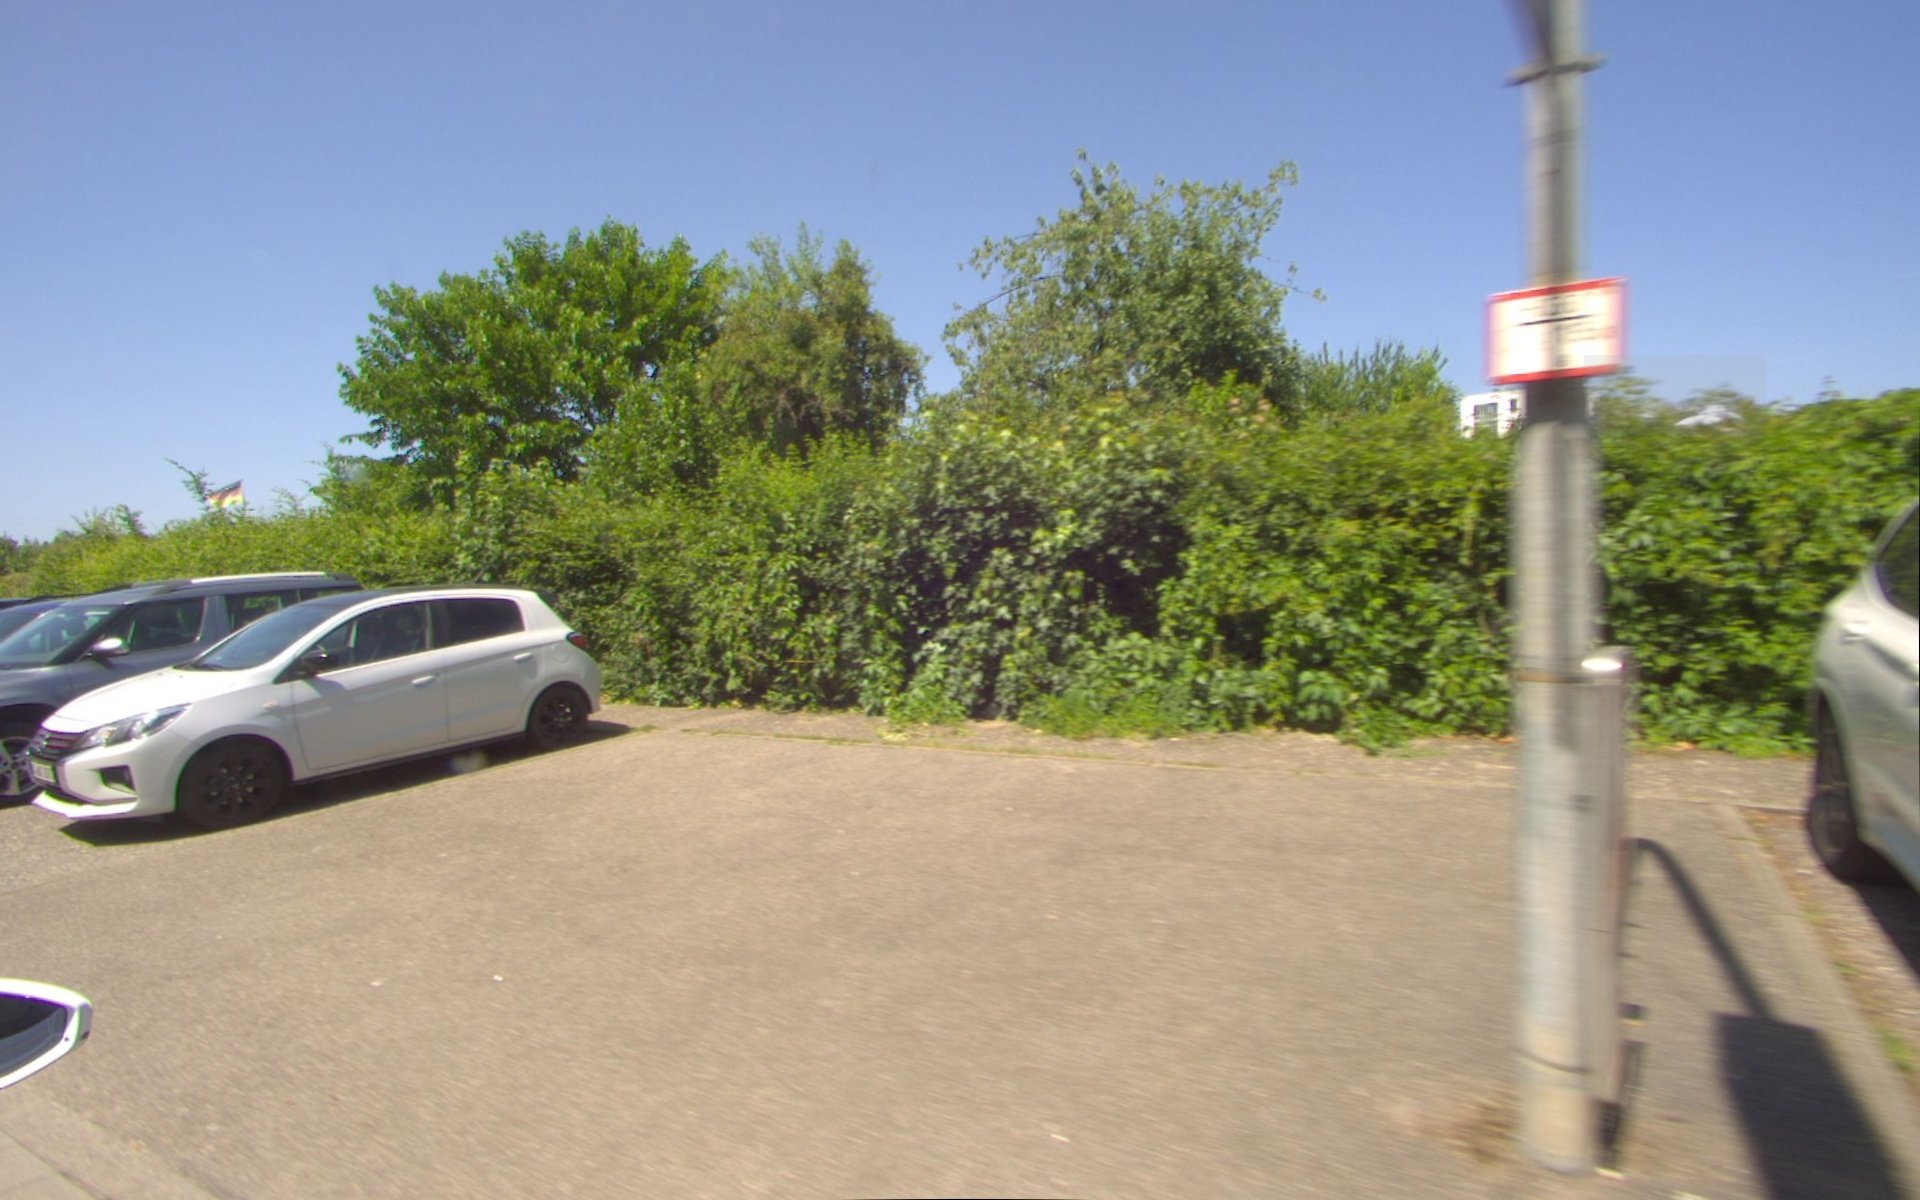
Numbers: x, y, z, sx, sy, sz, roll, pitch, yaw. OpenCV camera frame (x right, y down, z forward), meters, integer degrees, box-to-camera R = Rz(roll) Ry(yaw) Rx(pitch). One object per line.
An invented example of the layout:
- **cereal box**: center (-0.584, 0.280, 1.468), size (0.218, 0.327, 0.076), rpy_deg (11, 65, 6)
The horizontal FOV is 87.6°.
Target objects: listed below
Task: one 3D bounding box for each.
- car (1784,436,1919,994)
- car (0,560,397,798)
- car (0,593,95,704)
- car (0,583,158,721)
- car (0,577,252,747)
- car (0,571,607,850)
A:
- **car**: center (3.692, 0.353, 2.514), size (1.824, 1.753, 4.443), rpy_deg (-1, 2, 31)
- **car**: center (-7.515, 0.581, 9.020), size (1.637, 1.664, 3.955), rpy_deg (-1, 4, 25)
- **car**: center (-14.609, 0.742, 14.049), size (1.566, 1.525, 3.377), rpy_deg (0, 3, 34)
- **car**: center (-12.418, 0.712, 11.946), size (1.834, 1.544, 3.958), rpy_deg (-1, 4, 25)
- **car**: center (-9.891, 0.638, 10.671), size (1.515, 1.549, 3.448), rpy_deg (-1, 4, 26)
- **car**: center (-4.887, 0.620, 7.909), size (1.587, 1.471, 3.676), rpy_deg (0, 5, 34)
